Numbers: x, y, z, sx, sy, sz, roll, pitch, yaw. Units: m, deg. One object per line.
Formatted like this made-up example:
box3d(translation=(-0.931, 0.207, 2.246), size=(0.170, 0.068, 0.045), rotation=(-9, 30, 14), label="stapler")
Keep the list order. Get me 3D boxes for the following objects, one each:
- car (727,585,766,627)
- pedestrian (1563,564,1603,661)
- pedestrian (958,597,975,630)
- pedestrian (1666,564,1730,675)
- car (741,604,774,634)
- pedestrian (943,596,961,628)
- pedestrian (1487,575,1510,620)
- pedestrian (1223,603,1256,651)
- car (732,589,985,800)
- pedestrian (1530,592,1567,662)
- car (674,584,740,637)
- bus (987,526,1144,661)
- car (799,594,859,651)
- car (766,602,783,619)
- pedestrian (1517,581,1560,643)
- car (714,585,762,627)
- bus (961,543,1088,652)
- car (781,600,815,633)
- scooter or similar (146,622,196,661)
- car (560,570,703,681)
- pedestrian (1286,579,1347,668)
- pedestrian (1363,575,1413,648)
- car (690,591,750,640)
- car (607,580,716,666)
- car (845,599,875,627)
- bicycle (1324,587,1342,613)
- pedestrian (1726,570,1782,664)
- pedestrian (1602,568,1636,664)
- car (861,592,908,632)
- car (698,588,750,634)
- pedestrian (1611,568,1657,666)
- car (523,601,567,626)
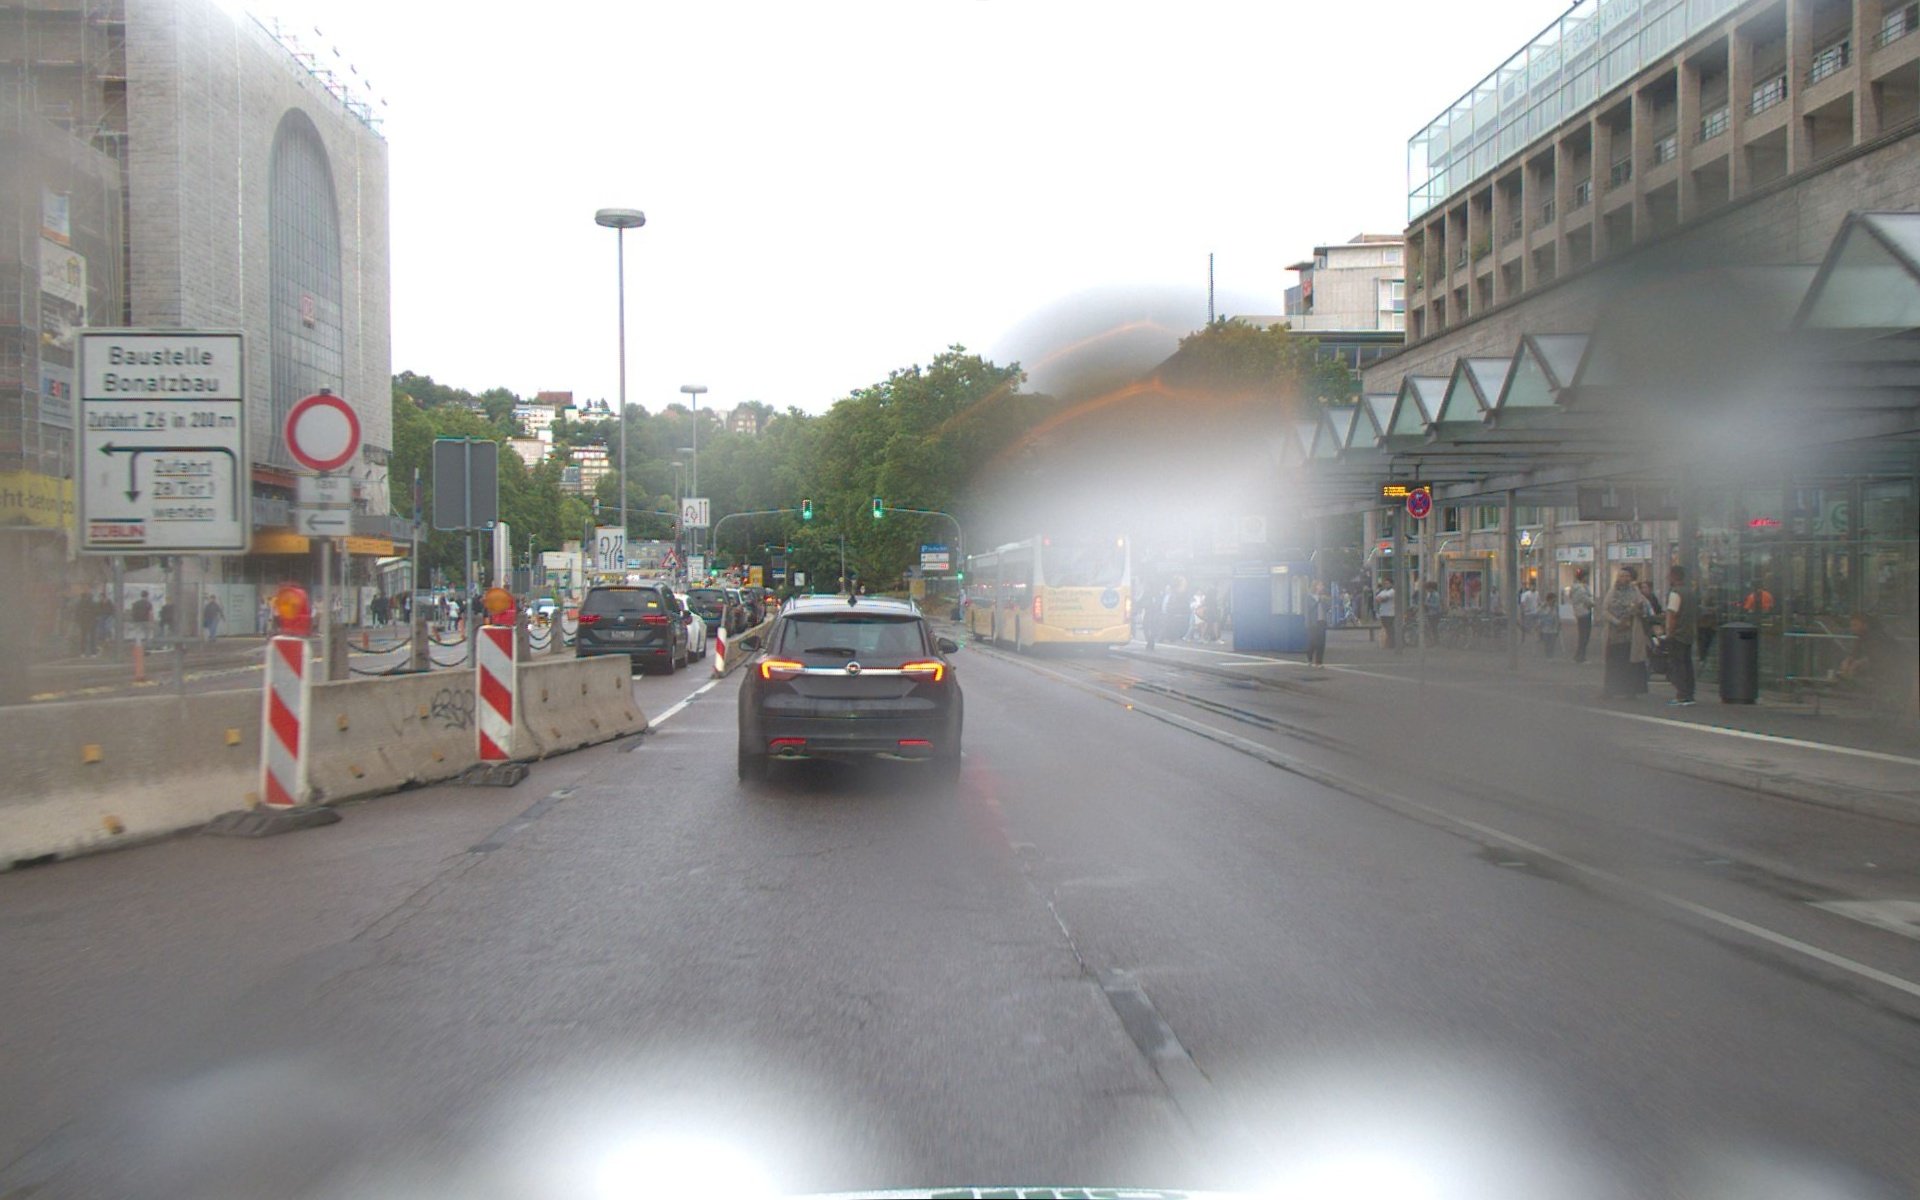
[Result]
box3d(translation=(-10.207, 0.270, 79.296), size=(1.680, 1.925, 4.605), rotation=(-1, 0, -5), label="car")
box3d(translation=(12.374, 0.244, 32.874), size=(0.594, 1.892, 0.625), rotation=(0, 0, 5), label="pedestrian")
box3d(translation=(0.366, 0.755, 93.659), size=(0.734, 1.836, 0.705), rotation=(-1, 0, -21), label="pedestrian")
box3d(translation=(12.709, 0.328, 28.497), size=(0.736, 1.880, 0.760), rotation=(0, 0, -8), label="pedestrian")
box3d(translation=(-13.099, 1.195, 106.756), size=(1.956, 1.878, 5.052), rotation=(1, 0, -9), label="car")
box3d(translation=(-0.454, 0.701, 96.538), size=(0.775, 1.871, 0.945), rotation=(-1, 0, -19), label="pedestrian")
box3d(translation=(22.128, -0.094, 67.977), size=(0.639, 1.823, 0.789), rotation=(-1, 0, 0), label="pedestrian")
box3d(translation=(10.712, 1.025, 63.439), size=(0.980, 1.824, 0.780), rotation=(-1, 0, -33), label="pedestrian")
box3d(translation=(-0.851, 0.687, 14.492), size=(1.840, 1.534, 4.849), rotation=(0, 0, -3), label="car")
box3d(translation=(12.002, 0.545, 33.729), size=(0.541, 1.401, 0.507), rotation=(0, 0, -9), label="pedestrian")
box3d(translation=(-8.568, 0.340, 56.398), size=(1.955, 1.683, 4.636), rotation=(-1, 0, -6), label="car")
box3d(translation=(2.674, -0.128, 45.336), size=(3.079, 3.304, 9.127), rotation=(1, 0, -4), label="bus")
box3d(translation=(-4.097, 0.668, 52.295), size=(1.794, 1.715, 4.131), rotation=(-1, 0, -3), label="car")
box3d(translation=(-18.752, 1.054, 166.930), size=(1.673, 1.694, 3.700), rotation=(1, -1, -7), label="car")
box3d(translation=(16.519, 0.338, 47.218), size=(0.968, 1.724, 0.854), rotation=(0, 0, 36), label="pedestrian")
box3d(translation=(-9.875, 0.255, 73.808), size=(1.955, 1.818, 4.842), rotation=(-1, 0, -6), label="car")
box3d(translation=(1.959, -0.039, 54.468), size=(3.052, 3.261, 9.232), rotation=(1, 0, -5), label="bus")
box3d(translation=(-10.118, 1.025, 103.318), size=(1.946, 2.049, 4.361), rotation=(1, -1, -8), label="car")
box3d(translation=(-22.183, 1.159, 46.537), size=(0.450, 1.084, 1.237), rotation=(0, 0, 30), label="scooter or similar")
box3d(translation=(-6.118, 0.442, 31.303), size=(1.954, 1.895, 4.829), rotation=(-1, 0, -3), label="car")
box3d(translation=(6.994, 0.446, 32.466), size=(0.749, 1.720, 0.991), rotation=(0, 0, -25), label="pedestrian")
box3d(translation=(11.020, 0.289, 42.596), size=(0.779, 1.836, 0.981), rotation=(-1, 0, -33), label="pedestrian")
box3d(translation=(-9.040, 0.552, 62.536), size=(2.010, 1.741, 5.048), rotation=(-1, 0, -6), label="car")
box3d(translation=(-6.504, 0.477, 36.493), size=(1.955, 1.736, 4.826), rotation=(-1, 0, -6), label="car")
box3d(translation=(-5.964, 0.765, 98.162), size=(1.642, 1.609, 3.236), rotation=(1, -1, -5), label="car")
box3d(translation=(23.102, -0.013, 102.466), size=(0.776, 1.589, 2.132), rotation=(0, 0, 3), label="bicycle")
box3d(translation=(16.027, 0.340, 33.380), size=(0.752, 1.863, 0.744), rotation=(0, 0, -33), label="pedestrian")
box3d(translation=(13.188, 0.319, 33.093), size=(0.584, 1.907, 0.590), rotation=(0, 0, 26), label="pedestrian")
box3d(translation=(-3.449, 0.551, 74.842), size=(1.816, 1.747, 3.994), rotation=(1, -1, -7), label="car")
box3d(translation=(-9.633, 0.432, 67.850), size=(1.955, 1.818, 4.448), rotation=(-1, 0, -7), label="car")
box3d(translation=(13.040, 0.319, 32.010), size=(0.600, 1.863, 0.586), rotation=(0, 0, -33), label="pedestrian")
box3d(translation=(-25.611, 0.840, 102.078), size=(1.954, 1.493, 3.996), rotation=(1, 0, -4), label="car")
